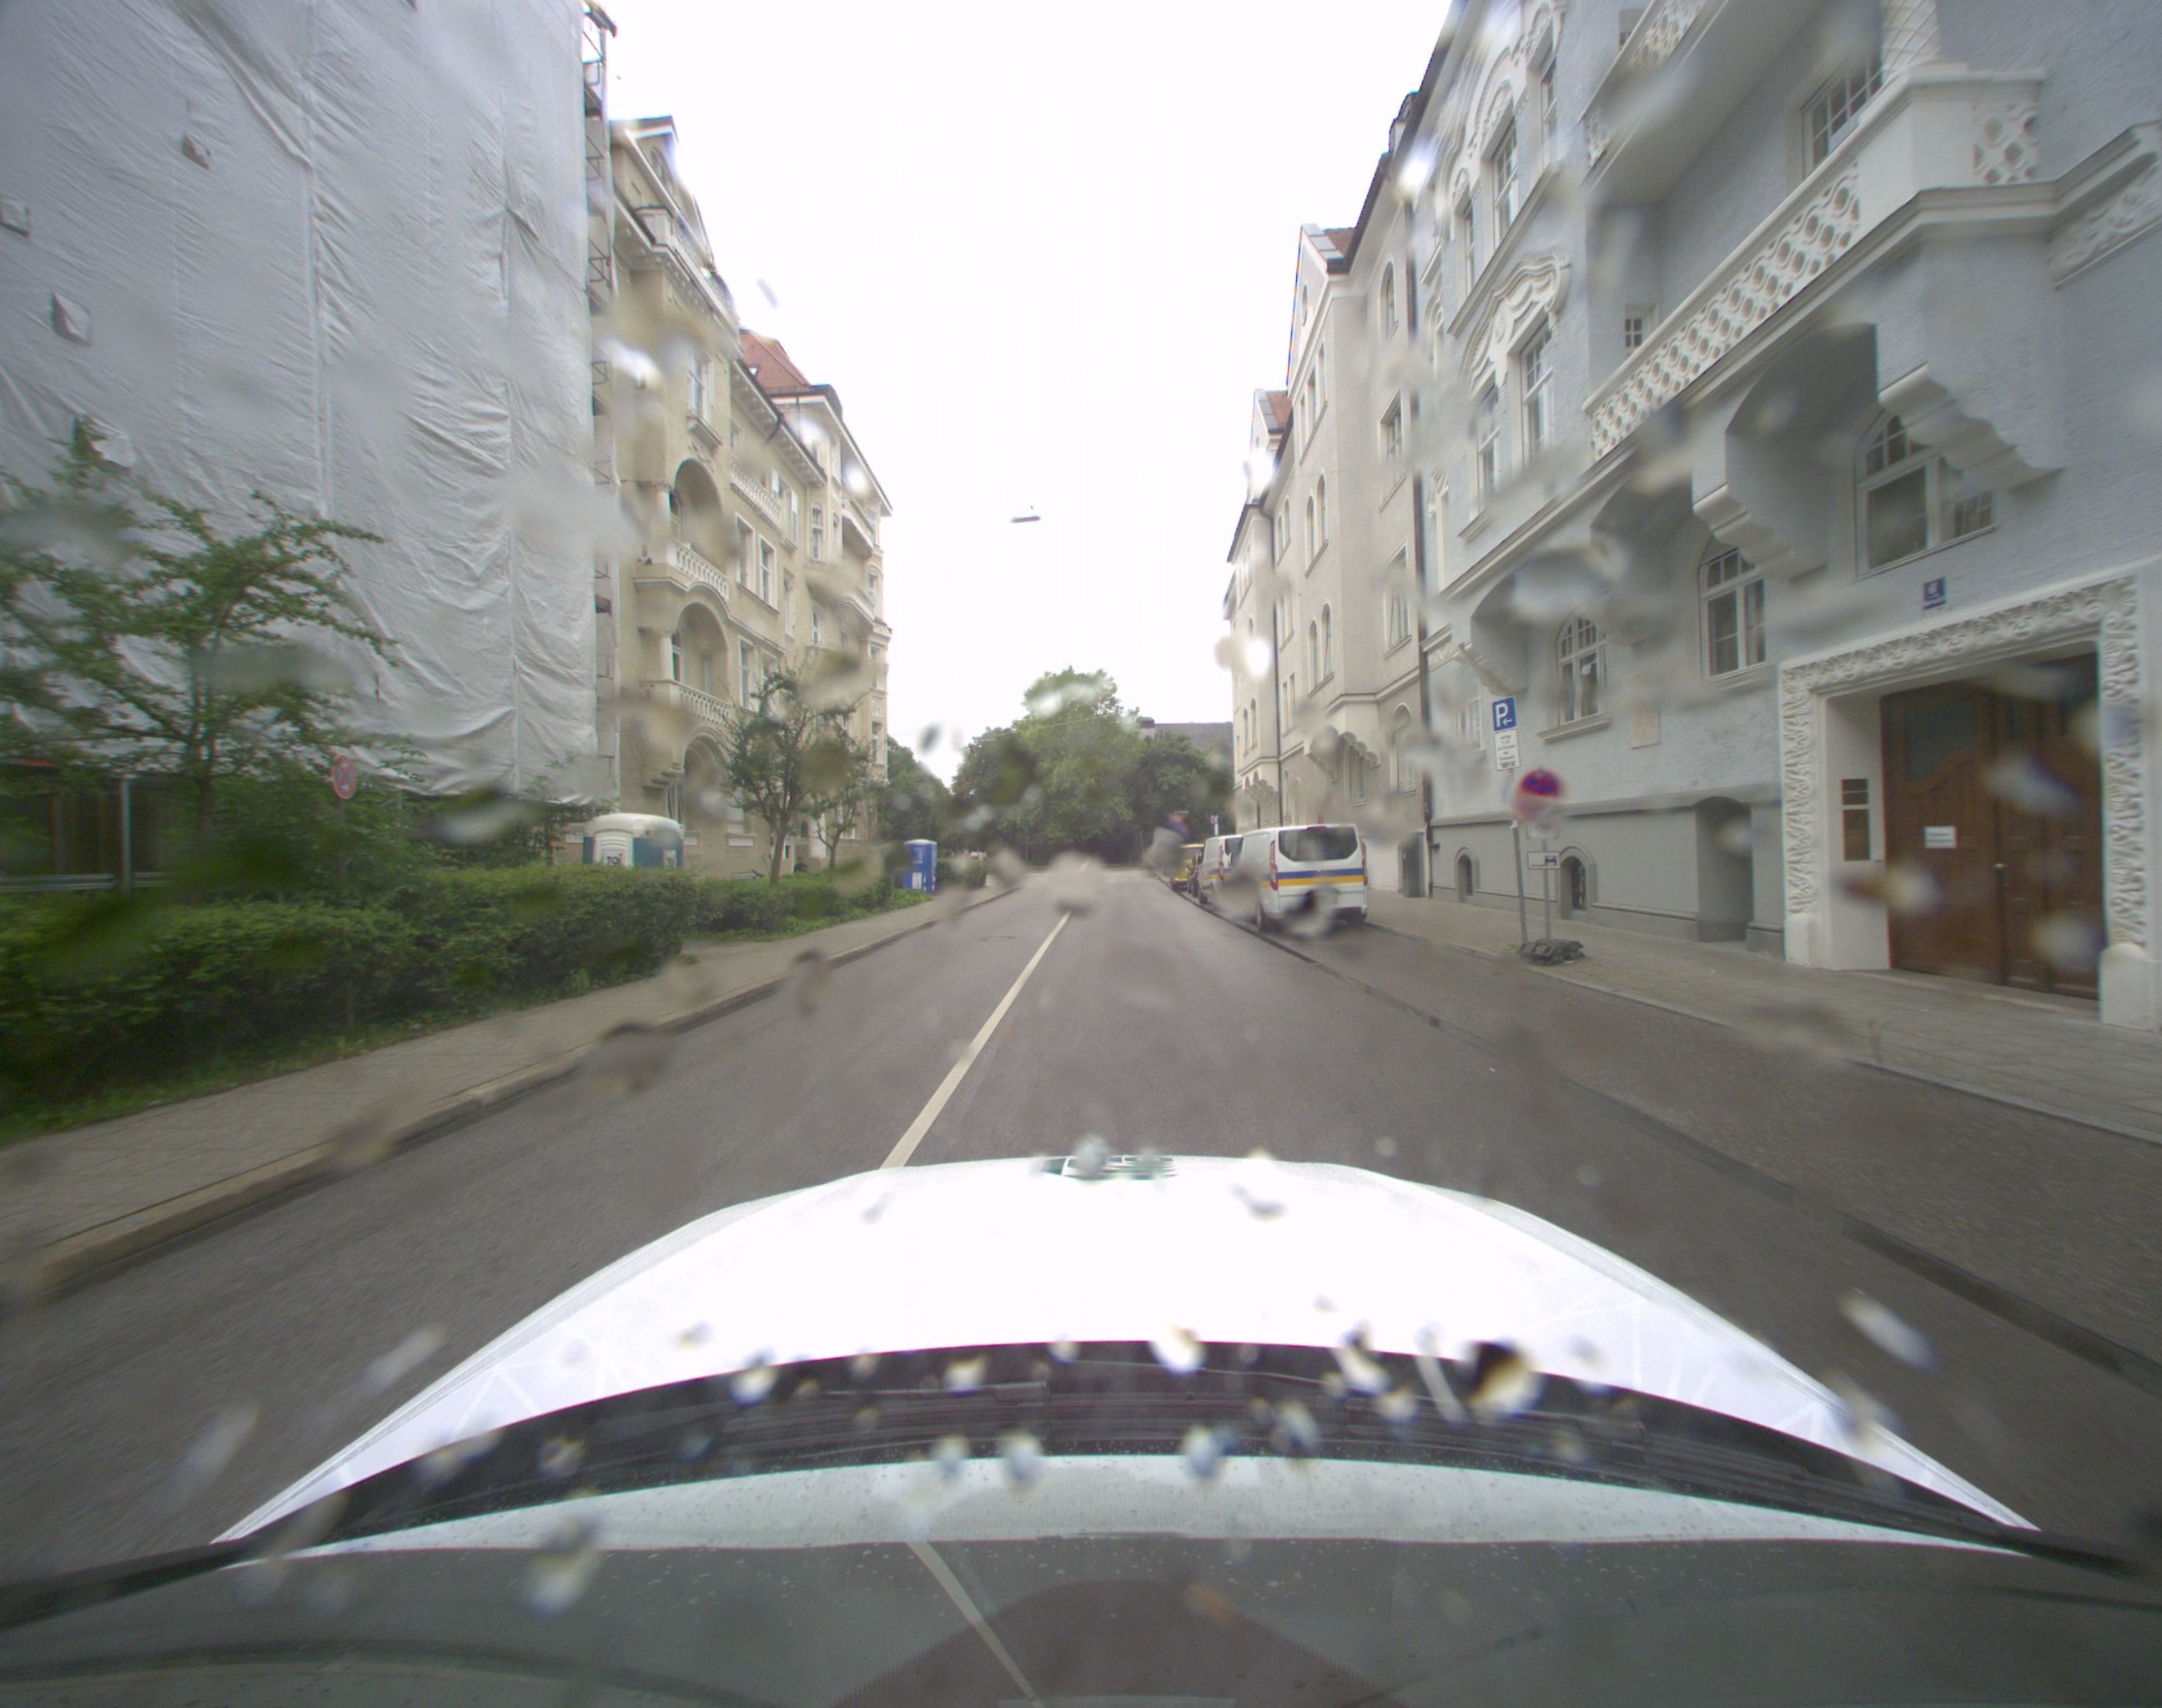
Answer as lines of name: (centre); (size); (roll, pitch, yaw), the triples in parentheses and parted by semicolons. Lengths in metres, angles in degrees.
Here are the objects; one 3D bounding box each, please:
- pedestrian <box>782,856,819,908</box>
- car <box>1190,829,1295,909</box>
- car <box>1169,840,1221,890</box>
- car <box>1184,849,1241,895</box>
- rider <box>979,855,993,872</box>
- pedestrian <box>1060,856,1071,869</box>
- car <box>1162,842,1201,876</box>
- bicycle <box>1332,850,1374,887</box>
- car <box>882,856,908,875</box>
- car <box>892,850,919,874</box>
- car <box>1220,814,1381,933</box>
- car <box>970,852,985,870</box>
pedestrian: (-9.861, 0.963, 28.650); (0.910, 1.751, 0.948); (-2, 0, 1)
car: (4.398, 0.376, 22.994); (1.953, 1.937, 4.993); (-2, 0, 0)
car: (4.692, 0.413, 34.054); (1.841, 1.853, 4.827); (-2, 0, 5)
car: (4.623, 0.598, 29.061); (1.625, 1.484, 3.787); (-2, 0, 3)
rider: (-10.304, 1.013, 88.292); (1.075, 1.667, 1.143); (-4, 0, 10)
pedestrian: (-1.436, 0.814, 75.452); (0.807, 1.189, 0.921); (-2, 0, 8)
car: (6.355, 0.308, 52.078); (1.909, 1.962, 4.928); (-3, 0, 1)
bicycle: (8.823, 0.456, 26.487); (0.691, 1.093, 2.038); (-4, 0, 3)
car: (-22.362, 1.352, 98.164); (2.106, 2.251, 5.190); (-2, 0, -3)
car: (-23.120, 1.044, 107.511); (2.329, 2.922, 6.572); (-2, 0, -3)
car: (4.276, 0.346, 16.797); (1.953, 2.013, 4.993); (-2, 0, 0)
car: (-15.414, 1.036, 121.041); (2.040, 2.558, 5.234); (-2, 0, -8)
